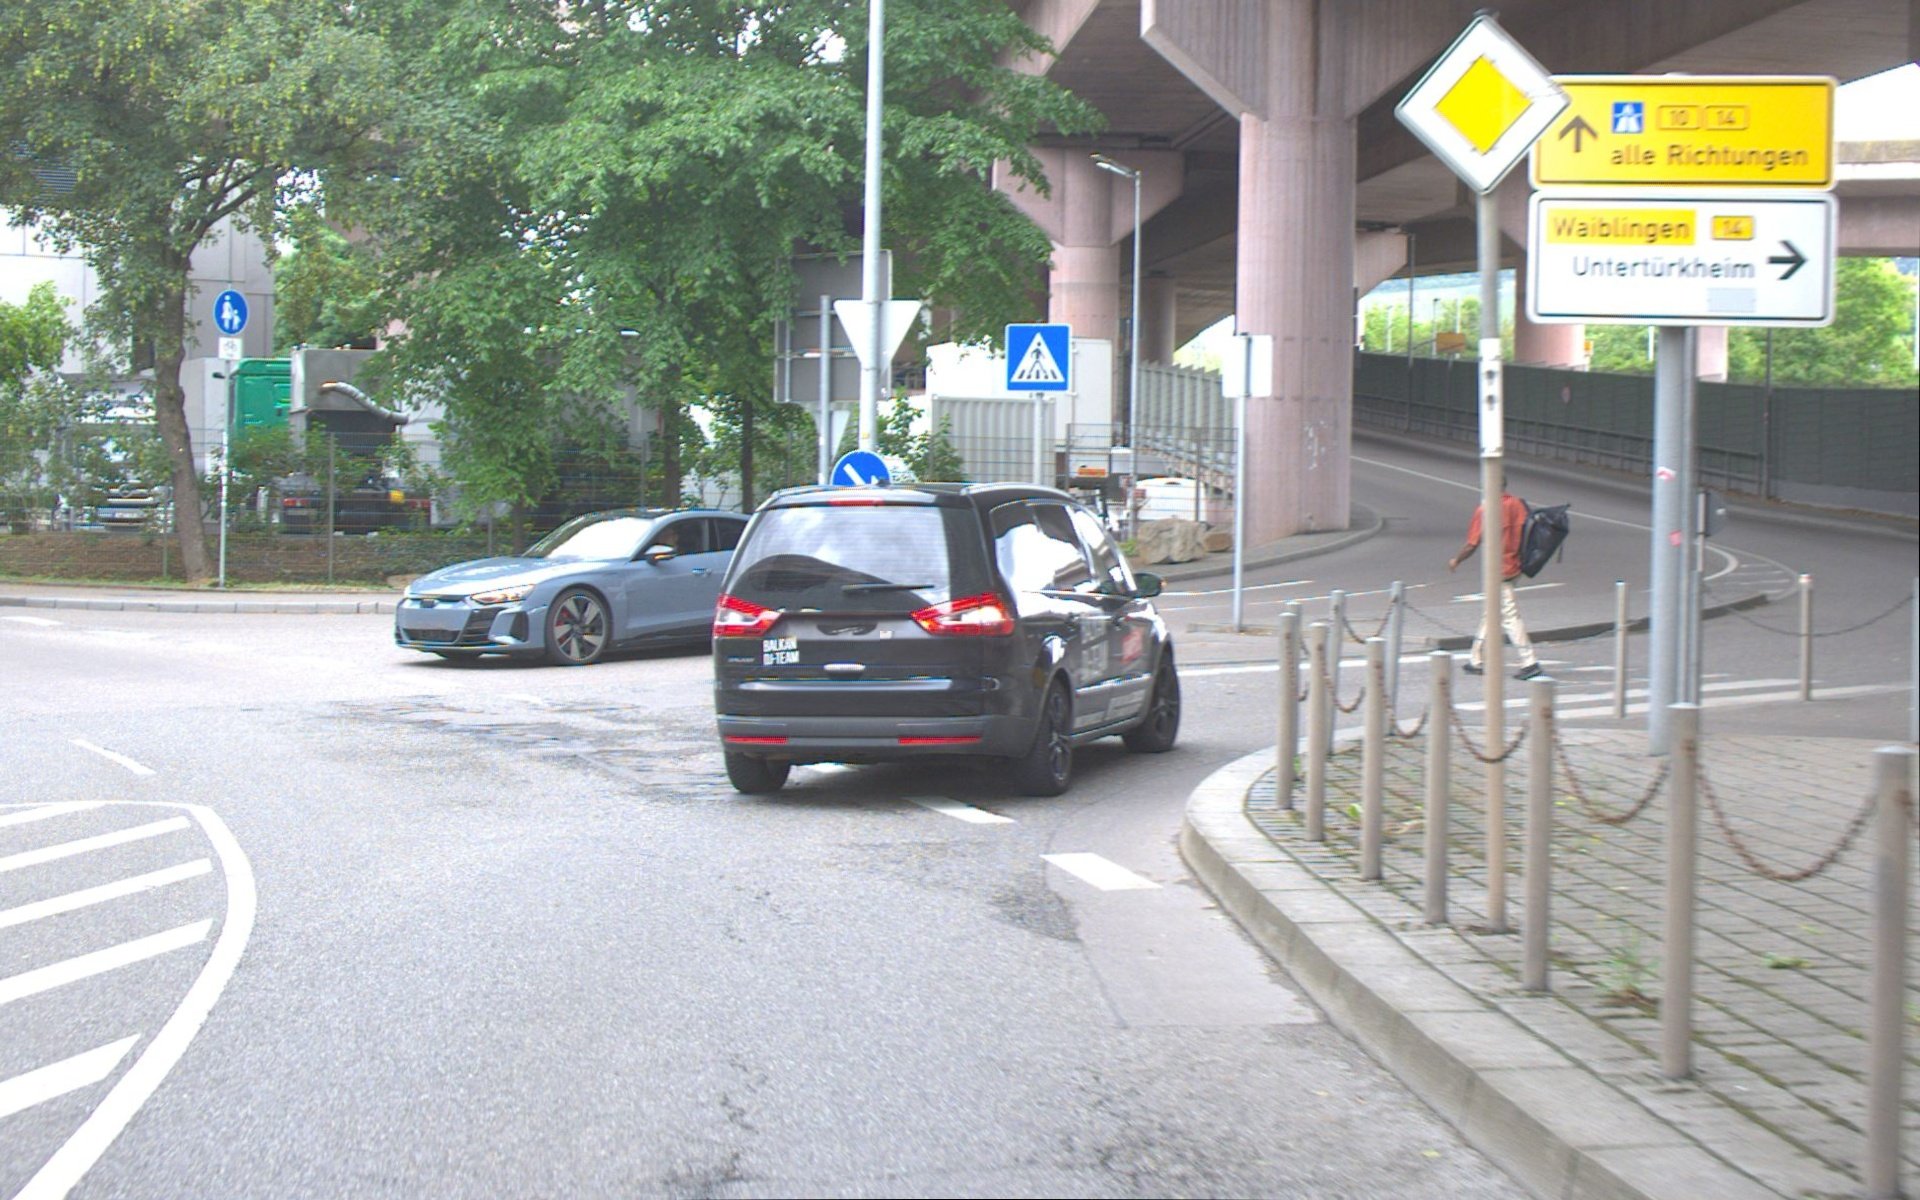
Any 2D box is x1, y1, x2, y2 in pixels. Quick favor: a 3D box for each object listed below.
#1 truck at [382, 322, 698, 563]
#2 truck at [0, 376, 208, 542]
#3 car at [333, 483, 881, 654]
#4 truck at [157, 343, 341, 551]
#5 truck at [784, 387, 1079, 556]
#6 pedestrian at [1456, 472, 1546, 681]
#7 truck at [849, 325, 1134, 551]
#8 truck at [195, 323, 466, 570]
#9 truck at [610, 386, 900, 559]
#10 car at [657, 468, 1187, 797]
[{"bbox_3d":[-7.371,-2.770,59.241,3.065,3.854,8.051,-1,4,-25],"label":"truck"},{"bbox_3d":[-19.813,-3.313,79.008,3.055,3.606,7.918,-1,4,-27],"label":"truck"},{"bbox_3d":[-3.271,-0.351,32.656,2.172,1.496,4.919,2,2,45],"label":"car"},{"bbox_3d":[-17.264,-3.753,83.039,3.202,4.763,8.052,-1,4,-20],"label":"truck"},{"bbox_3d":[-0.625,-2.409,62.485,2.915,2.888,6.560,-1,4,-25],"label":"truck"},{"bbox_3d":[4.408,-0.201,28.010,0.536,1.670,0.558,-1,3,-16],"label":"pedestrian"},{"bbox_3d":[0.498,-3.328,69.580,3.065,4.284,8.051,-1,4,-20],"label":"truck"},{"bbox_3d":[-10.944,-2.666,59.232,3.065,3.949,6.925,-2,3,-23],"label":"truck"},{"bbox_3d":[-3.735,-2.341,60.923,2.915,2.888,6.560,-1,4,-25],"label":"truck"},{"bbox_3d":[-0.067,0.107,19.959,1.995,1.673,4.558,0,1,14],"label":"car"}]
